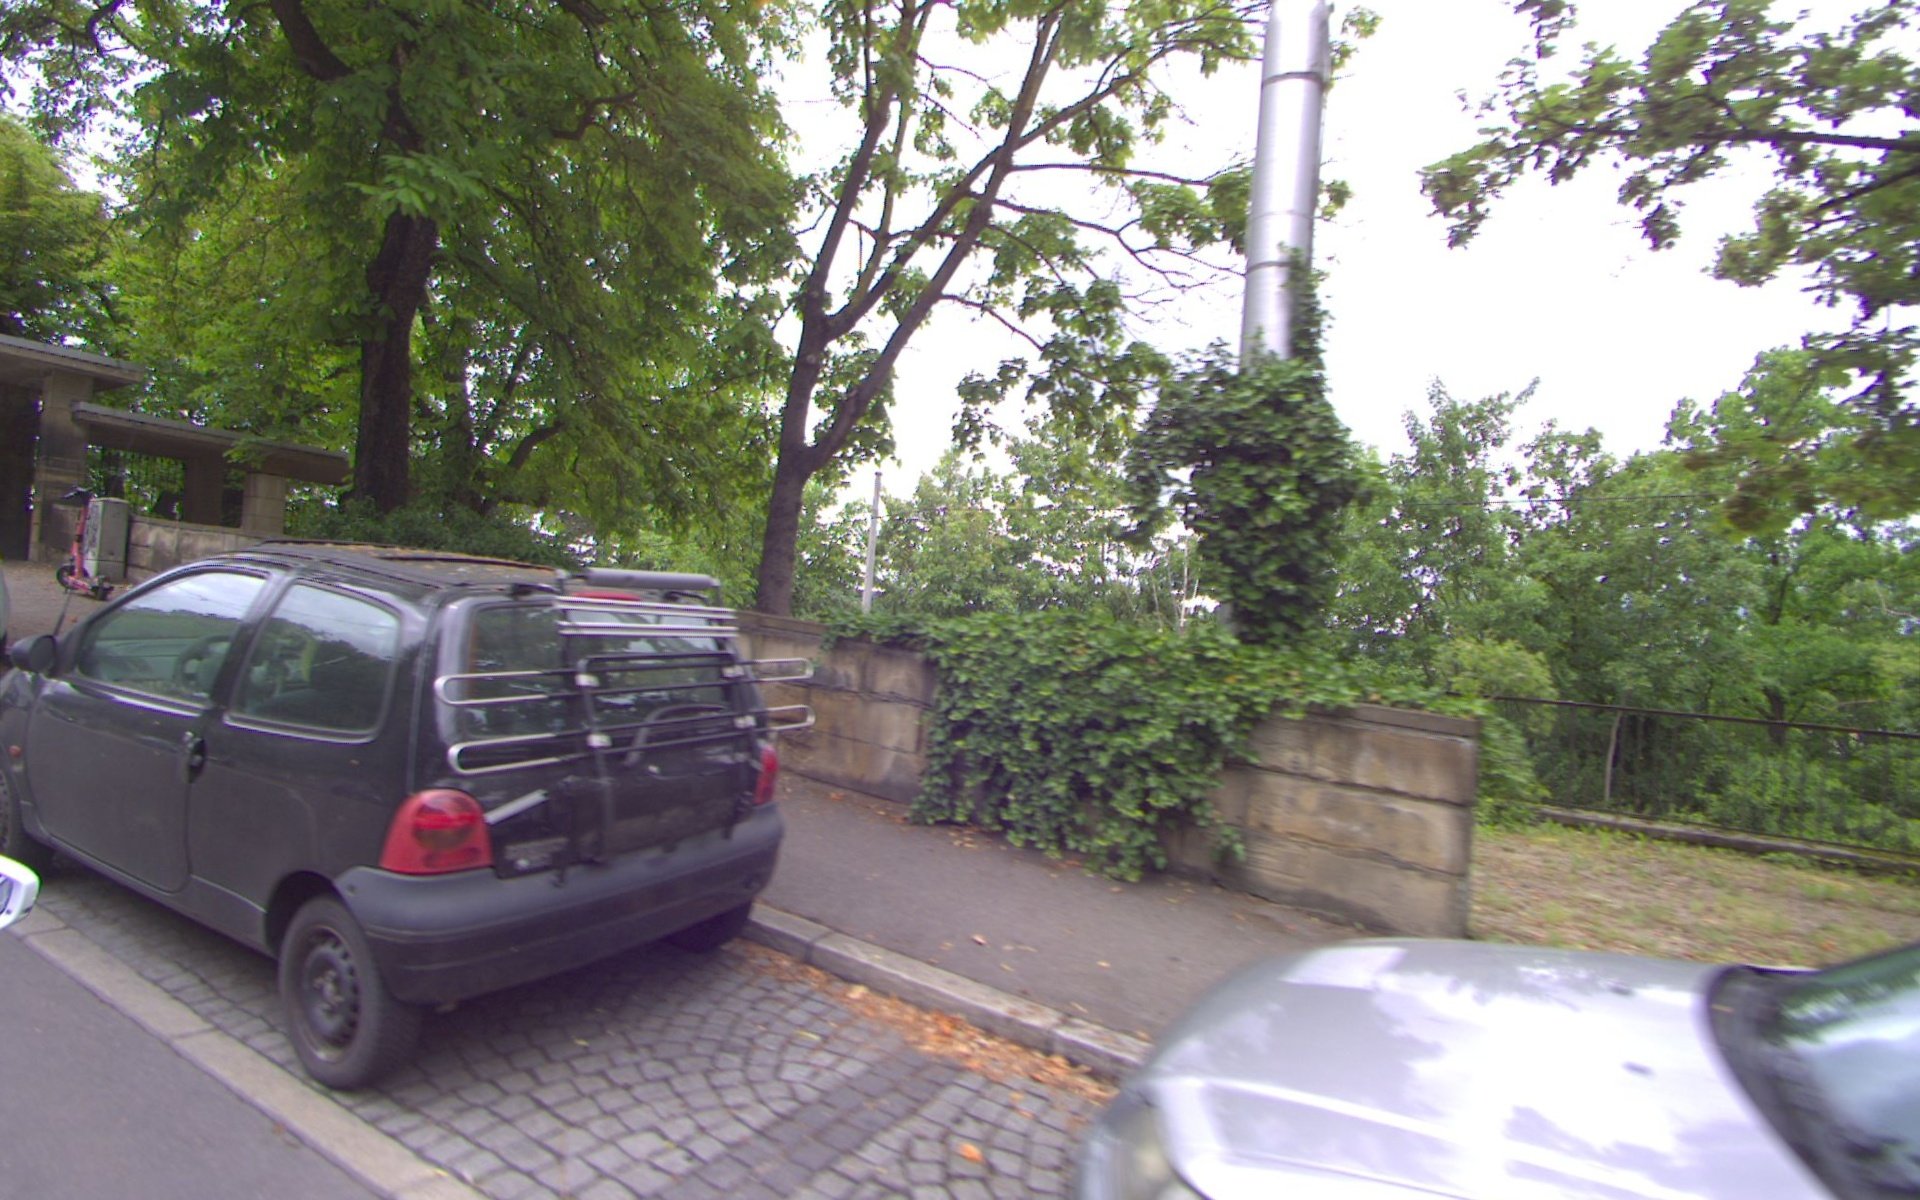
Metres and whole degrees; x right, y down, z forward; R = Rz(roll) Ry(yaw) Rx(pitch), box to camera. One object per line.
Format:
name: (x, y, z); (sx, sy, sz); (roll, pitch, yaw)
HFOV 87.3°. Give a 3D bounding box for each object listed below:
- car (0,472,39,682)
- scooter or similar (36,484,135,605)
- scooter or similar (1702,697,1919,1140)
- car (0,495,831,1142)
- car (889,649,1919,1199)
car: (-8.901, -0.385, 7.516); (3.967, 1.492, 1.716); (7, 3, 28)
scooter or similar: (-10.186, -0.649, 11.713); (1.149, 1.277, 0.516); (7, 3, 32)
scooter or similar: (3.557, 1.082, 3.040); (1.967, 1.262, 0.560); (6, 5, 33)
car: (-2.373, 0.449, 3.912); (3.366, 1.441, 1.562); (6, 3, 29)
car: (2.251, 1.030, 1.176); (4.476, 1.416, 1.771); (6, 1, 32)
